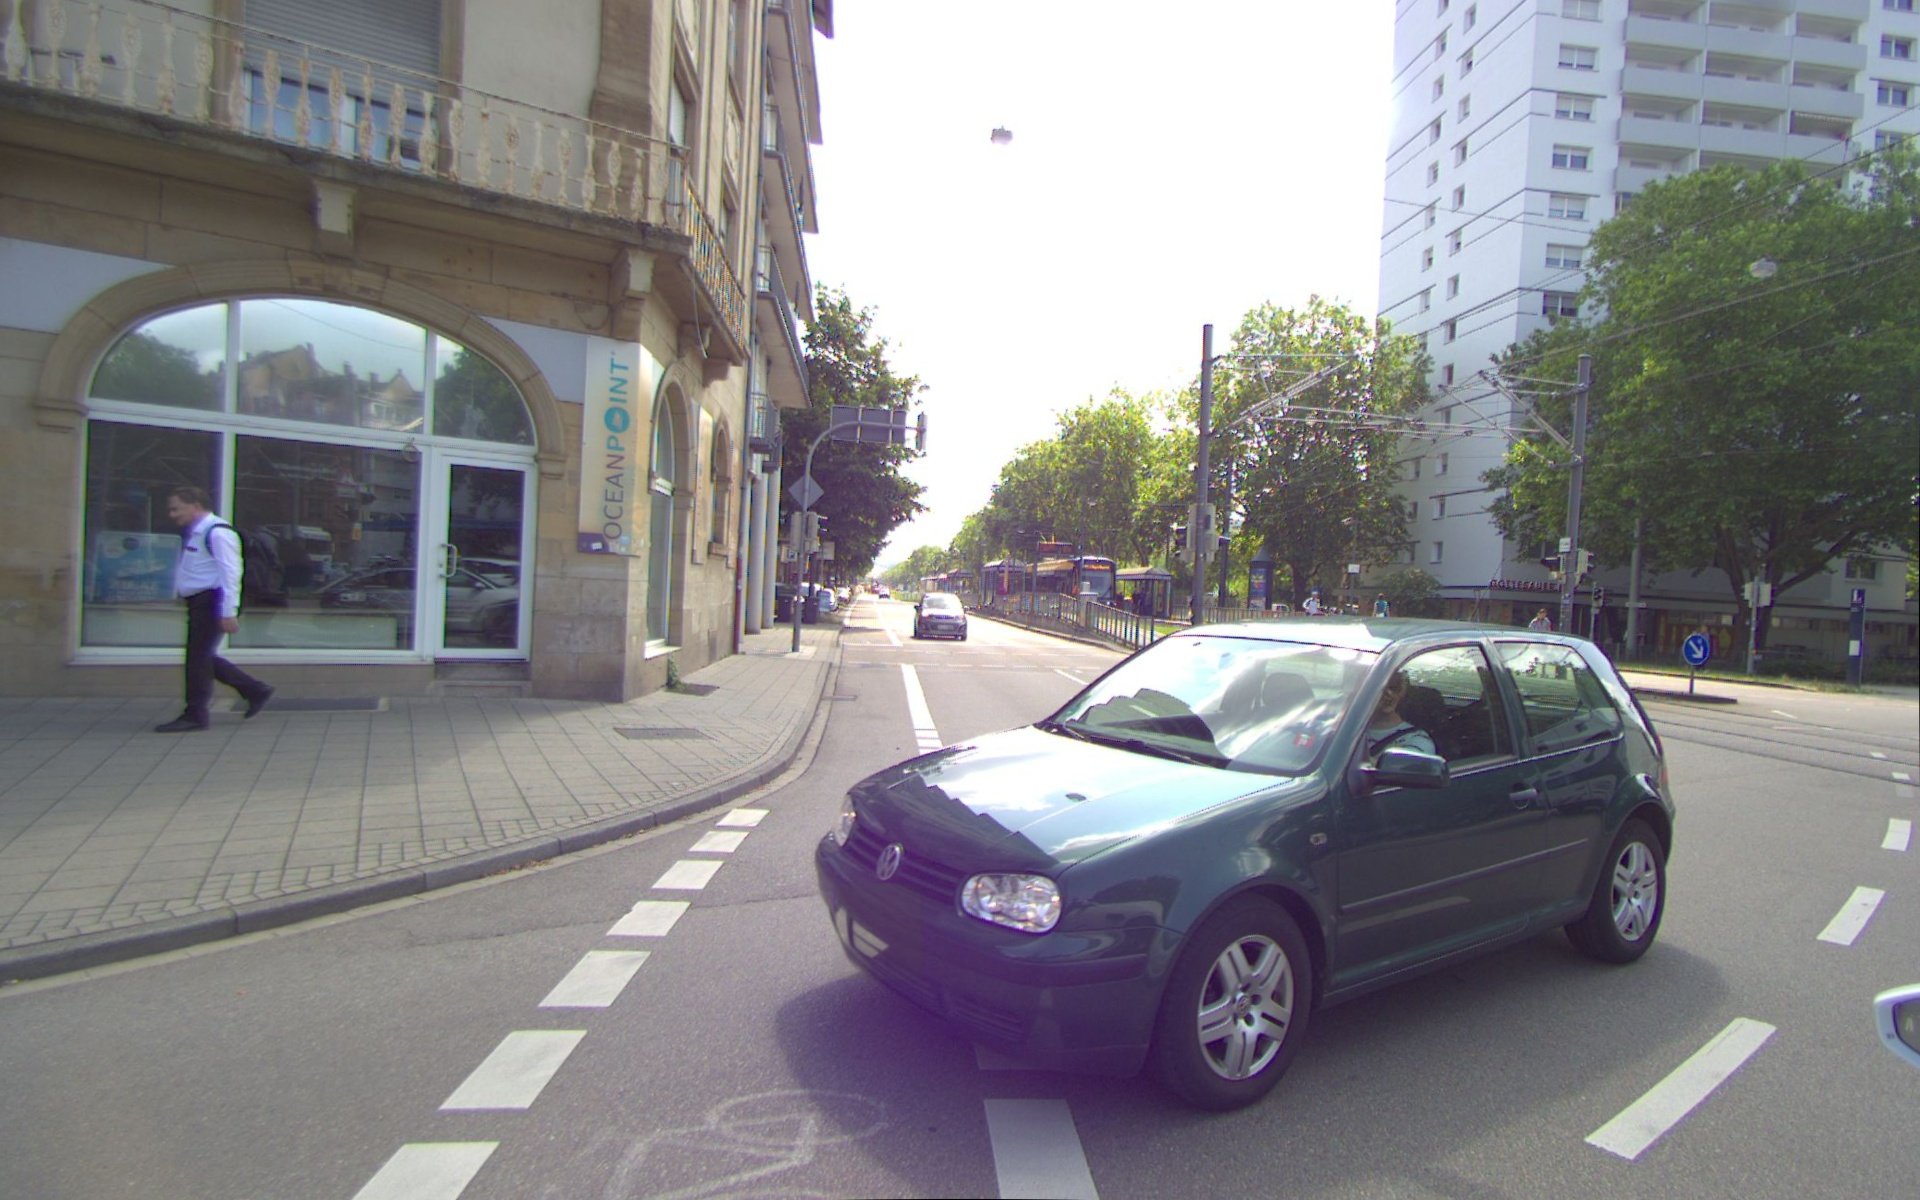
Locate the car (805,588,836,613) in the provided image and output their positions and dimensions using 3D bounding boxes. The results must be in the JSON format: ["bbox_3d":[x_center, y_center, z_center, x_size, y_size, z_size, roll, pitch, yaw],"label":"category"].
[{"bbox_3d":[-8.528,0.035,61.577,1.692,1.390,3.474,3,1,-5],"label":"car"}]

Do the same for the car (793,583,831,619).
[{"bbox_3d":[-7.038,0.011,47.930,1.628,1.600,3.472,3,1,-7],"label":"car"}]

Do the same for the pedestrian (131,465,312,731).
[{"bbox_3d":[-5.640,-0.005,7.745,0.895,1.884,0.799,5,0,-30],"label":"pedestrian"}]

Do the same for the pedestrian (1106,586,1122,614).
[{"bbox_3d":[10.397,-0.013,67.997,0.701,1.825,1.131,3,1,-6],"label":"pedestrian"}]

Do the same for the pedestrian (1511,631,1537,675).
[{"bbox_3d":[14.404,1.360,25.677,0.412,1.077,0.437,3,1,13],"label":"pedestrian"}]

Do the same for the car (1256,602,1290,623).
[{"bbox_3d":[31.480,1.243,101.076,1.778,1.839,4.336,3,1,-4],"label":"car"}]

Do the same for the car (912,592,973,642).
[{"bbox_3d":[-0.619,0.523,33.011,1.608,1.458,3.639,3,1,-6],"label":"car"}]

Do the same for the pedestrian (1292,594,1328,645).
[{"bbox_3d":[12.981,0.717,37.278,0.835,1.804,1.044,3,1,-5],"label":"pedestrian"}]

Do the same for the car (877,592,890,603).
[{"bbox_3d":[-10.763,-0.371,141.451,1.629,1.390,3.474,3,1,-5],"label":"car"}]

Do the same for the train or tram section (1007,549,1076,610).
[{"bbox_3d":[5.363,-1.360,68.102,2.752,3.632,10.394,3,0,-5],"label":"train or tram section"}]

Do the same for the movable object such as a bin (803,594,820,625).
[{"bbox_3d":[-5.732,0.354,38.707,0.582,1.132,0.786,3,1,-10],"label":"movable object such as a bin"}]

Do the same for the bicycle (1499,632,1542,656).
[{"bbox_3d":[27.233,2.136,48.843,1.695,1.022,0.534,4,1,22],"label":"bicycle"}]

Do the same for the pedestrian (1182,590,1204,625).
[{"bbox_3d":[12.540,0.406,54.039,0.844,1.798,0.876,3,1,-5],"label":"pedestrian"}]

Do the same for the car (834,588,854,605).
[{"bbox_3d":[-10.408,-0.361,90.425,1.692,1.390,3.474,3,1,-5],"label":"car"}]

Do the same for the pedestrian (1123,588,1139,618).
[{"bbox_3d":[10.776,0.194,63.201,0.690,1.874,0.907,3,1,-6],"label":"pedestrian"}]

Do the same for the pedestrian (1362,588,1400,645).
[{"bbox_3d":[14.601,0.559,34.842,0.814,1.924,0.845,3,1,-5],"label":"pedestrian"}]

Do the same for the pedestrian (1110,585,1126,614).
[{"bbox_3d":[10.904,-0.042,69.298,0.798,1.897,1.030,3,1,-6],"label":"pedestrian"}]

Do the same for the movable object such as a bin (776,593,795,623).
[{"bbox_3d":[-6.703,0.303,38.558,0.639,1.132,0.786,3,1,-10],"label":"movable object such as a bin"}]

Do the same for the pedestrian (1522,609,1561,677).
[{"bbox_3d":[14.984,1.087,25.897,0.613,1.688,0.676,3,1,14],"label":"pedestrian"}]

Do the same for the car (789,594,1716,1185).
[{"bbox_3d":[1.386,0.770,4.241,3.777,1.452,1.703,2,0,-33],"label":"car"}]

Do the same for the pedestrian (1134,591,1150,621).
[{"bbox_3d":[11.467,0.368,63.396,0.690,1.874,0.788,3,1,-6],"label":"pedestrian"}]

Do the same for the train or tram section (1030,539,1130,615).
[{"bbox_3d":[6.415,-1.216,56.438,2.763,3.631,13.004,3,0,-5],"label":"train or tram section"}]

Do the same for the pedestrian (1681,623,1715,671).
[{"bbox_3d":[26.301,1.662,35.798,0.525,1.620,0.784,3,1,-8],"label":"pedestrian"}]
